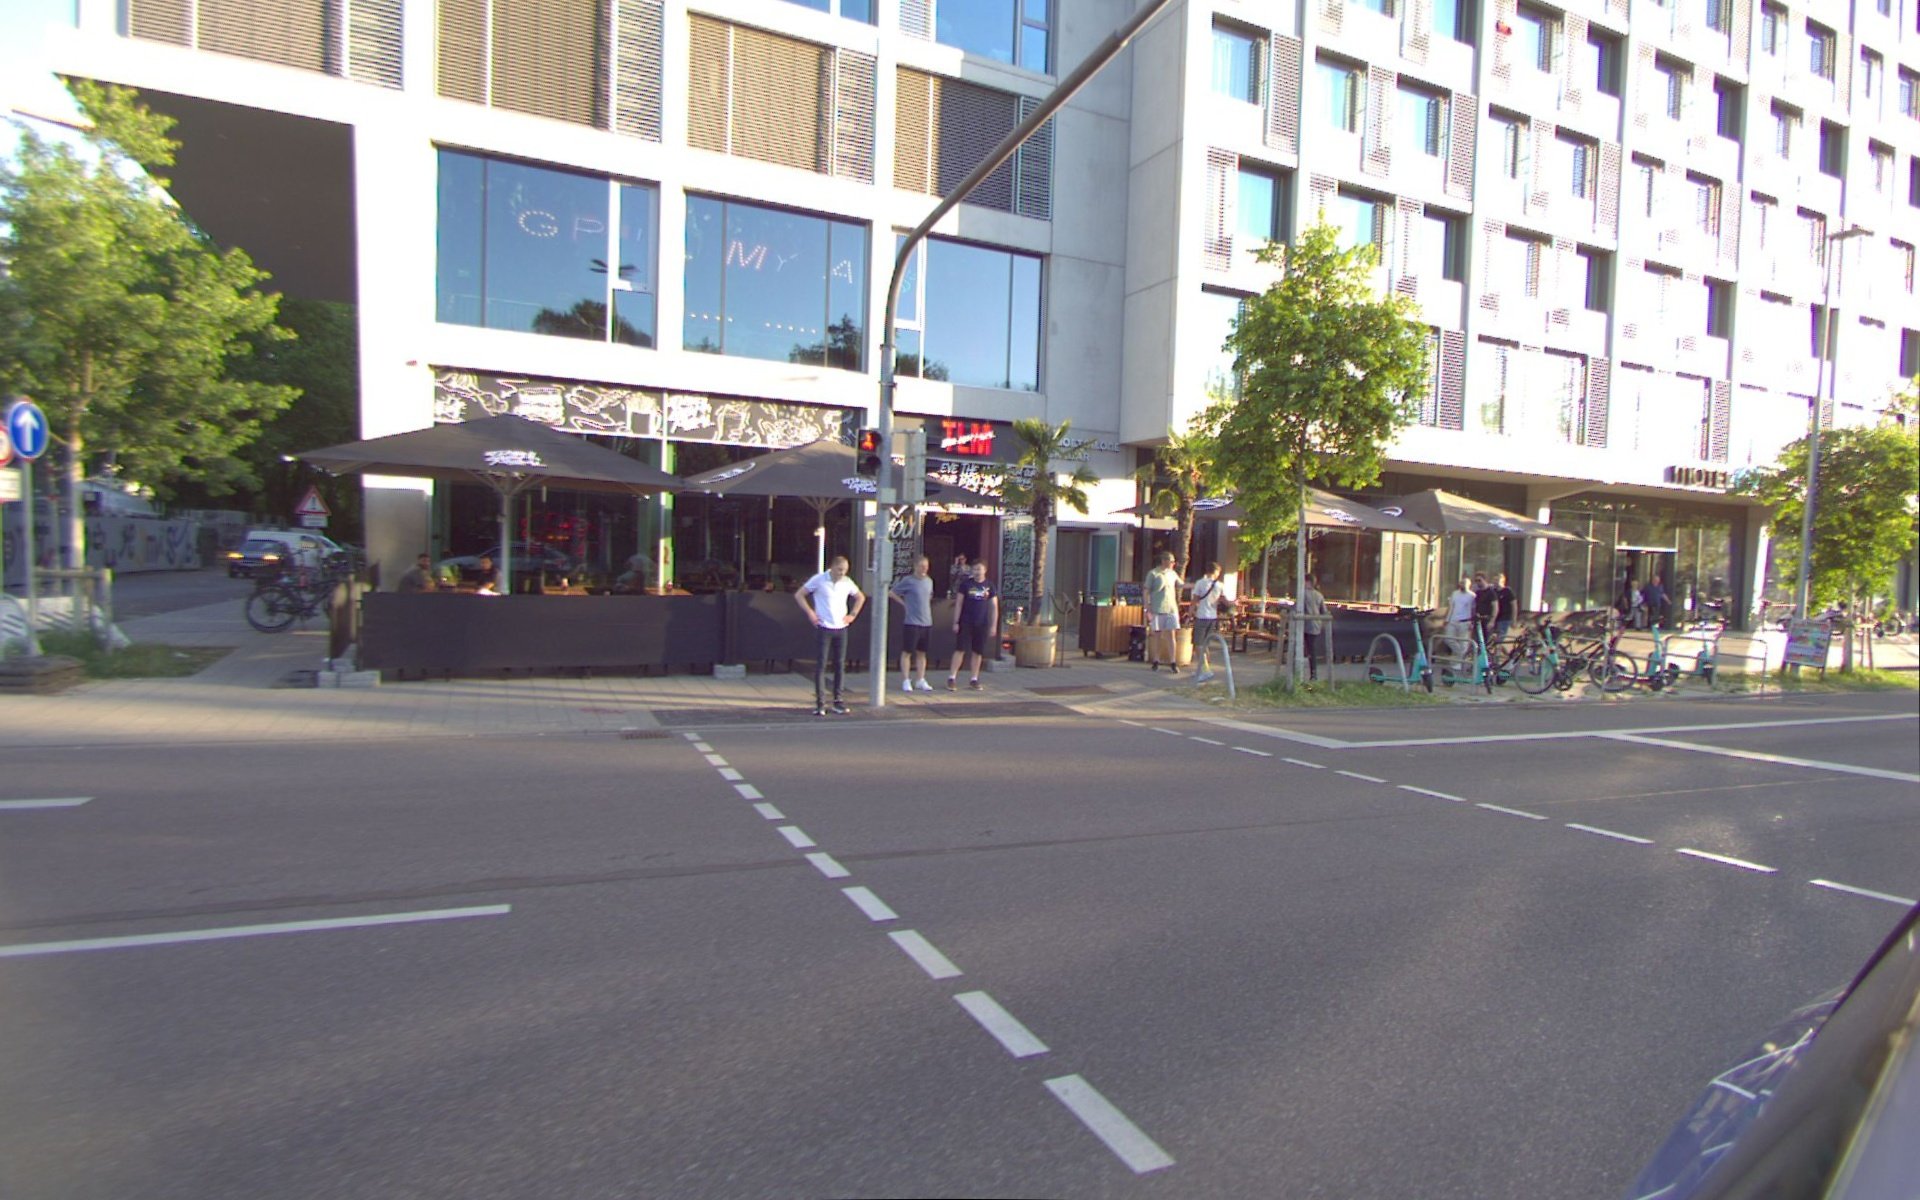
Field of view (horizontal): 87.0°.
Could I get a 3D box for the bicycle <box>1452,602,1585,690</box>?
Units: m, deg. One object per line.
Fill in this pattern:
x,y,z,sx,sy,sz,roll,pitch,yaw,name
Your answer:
9.106,0.724,16.578,0.556,1.207,1.803,1,4,-30,bicycle

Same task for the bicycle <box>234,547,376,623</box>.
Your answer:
-10.888,-0.236,16.895,1.915,1.226,0.545,0,0,-24,bicycle

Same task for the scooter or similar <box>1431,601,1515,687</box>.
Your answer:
8.126,0.680,16.072,0.538,1.237,1.068,1,4,-16,scooter or similar

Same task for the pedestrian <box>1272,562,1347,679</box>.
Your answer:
5.435,0.300,15.763,0.566,1.724,0.857,1,3,-34,pedestrian

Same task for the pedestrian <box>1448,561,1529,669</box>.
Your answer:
9.559,0.264,18.324,0.920,1.870,0.748,1,4,-16,pedestrian

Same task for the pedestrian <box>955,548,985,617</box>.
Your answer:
0.247,-0.408,24.068,0.546,1.621,0.453,1,0,-24,pedestrian

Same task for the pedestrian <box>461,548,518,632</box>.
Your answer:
-7.927,-0.185,17.066,0.699,1.334,0.750,2,4,-12,pedestrian

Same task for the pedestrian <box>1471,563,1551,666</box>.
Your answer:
10.293,0.264,18.922,0.920,1.846,0.761,1,4,-16,pedestrian

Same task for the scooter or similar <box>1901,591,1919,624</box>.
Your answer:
37.018,0.359,37.988,0.608,1.197,2.386,1,4,-26,scooter or similar

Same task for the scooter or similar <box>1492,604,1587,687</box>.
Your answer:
9.561,0.725,16.733,0.470,1.216,1.216,1,4,-29,scooter or similar

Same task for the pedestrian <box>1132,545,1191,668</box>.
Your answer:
3.270,0.078,16.504,0.813,1.911,0.865,2,4,7,pedestrian

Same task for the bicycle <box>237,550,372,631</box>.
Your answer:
-10.338,-0.157,16.018,1.709,1.226,0.589,0,1,-24,bicycle

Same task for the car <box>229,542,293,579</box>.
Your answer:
-28.198,-1.621,40.895,1.635,1.369,4.008,1,3,-28,car

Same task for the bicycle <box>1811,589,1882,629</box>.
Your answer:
29.313,0.297,33.495,0.601,1.168,1.612,0,4,-37,bicycle

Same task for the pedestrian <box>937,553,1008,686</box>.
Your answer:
0.163,0.251,13.732,0.642,1.722,0.691,1,4,-26,pedestrian

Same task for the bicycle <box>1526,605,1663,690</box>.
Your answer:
10.660,0.760,17.077,0.595,1.196,1.857,1,4,-25,bicycle

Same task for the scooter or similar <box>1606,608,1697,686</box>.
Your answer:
11.958,0.789,17.529,0.499,1.205,1.163,-1,5,-23,scooter or similar

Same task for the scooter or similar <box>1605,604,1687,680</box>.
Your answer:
12.368,0.740,18.277,0.521,1.228,1.134,0,4,-10,scooter or similar

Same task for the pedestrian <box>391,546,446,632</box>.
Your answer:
-8.872,-0.188,16.589,0.608,1.334,0.616,2,4,-7,pedestrian

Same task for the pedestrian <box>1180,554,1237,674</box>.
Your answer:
3.917,0.195,15.947,0.574,1.807,0.819,4,4,33,pedestrian

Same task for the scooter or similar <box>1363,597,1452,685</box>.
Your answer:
6.979,0.620,15.805,0.586,1.238,1.057,1,4,-29,scooter or similar

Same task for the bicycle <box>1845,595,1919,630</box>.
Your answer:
31.865,0.403,34.897,0.554,1.021,1.896,1,5,-27,bicycle

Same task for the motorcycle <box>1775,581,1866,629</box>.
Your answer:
28.382,0.148,33.412,0.660,1.403,2.118,1,4,-39,motorcycle

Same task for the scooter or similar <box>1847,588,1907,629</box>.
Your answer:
30.738,0.286,33.933,0.596,1.248,1.274,1,4,-29,scooter or similar

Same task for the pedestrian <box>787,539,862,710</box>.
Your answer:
-1.551,0.258,11.509,0.755,1.870,0.680,2,2,-9,pedestrian

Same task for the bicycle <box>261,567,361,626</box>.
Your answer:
-10.564,-0.054,16.508,1.316,0.940,0.413,0,0,-24,bicycle

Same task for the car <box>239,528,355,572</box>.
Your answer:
-33.698,-2.536,51.546,4.685,2.012,1.673,2,2,-9,car

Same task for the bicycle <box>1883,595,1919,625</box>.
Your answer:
34.206,0.388,36.112,0.539,0.998,1.709,1,4,-28,bicycle

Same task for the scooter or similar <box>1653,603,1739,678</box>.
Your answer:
13.695,0.728,18.875,0.525,1.232,1.298,2,4,-2,scooter or similar

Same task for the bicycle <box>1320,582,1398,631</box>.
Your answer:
9.376,0.144,23.822,0.539,0.998,1.709,1,4,-28,bicycle

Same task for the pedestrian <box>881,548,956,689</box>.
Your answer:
-0.557,0.227,13.336,0.673,1.755,0.763,1,4,-25,pedestrian

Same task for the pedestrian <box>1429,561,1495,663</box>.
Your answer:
9.411,0.222,18.978,0.760,1.832,0.623,1,5,-16,pedestrian
